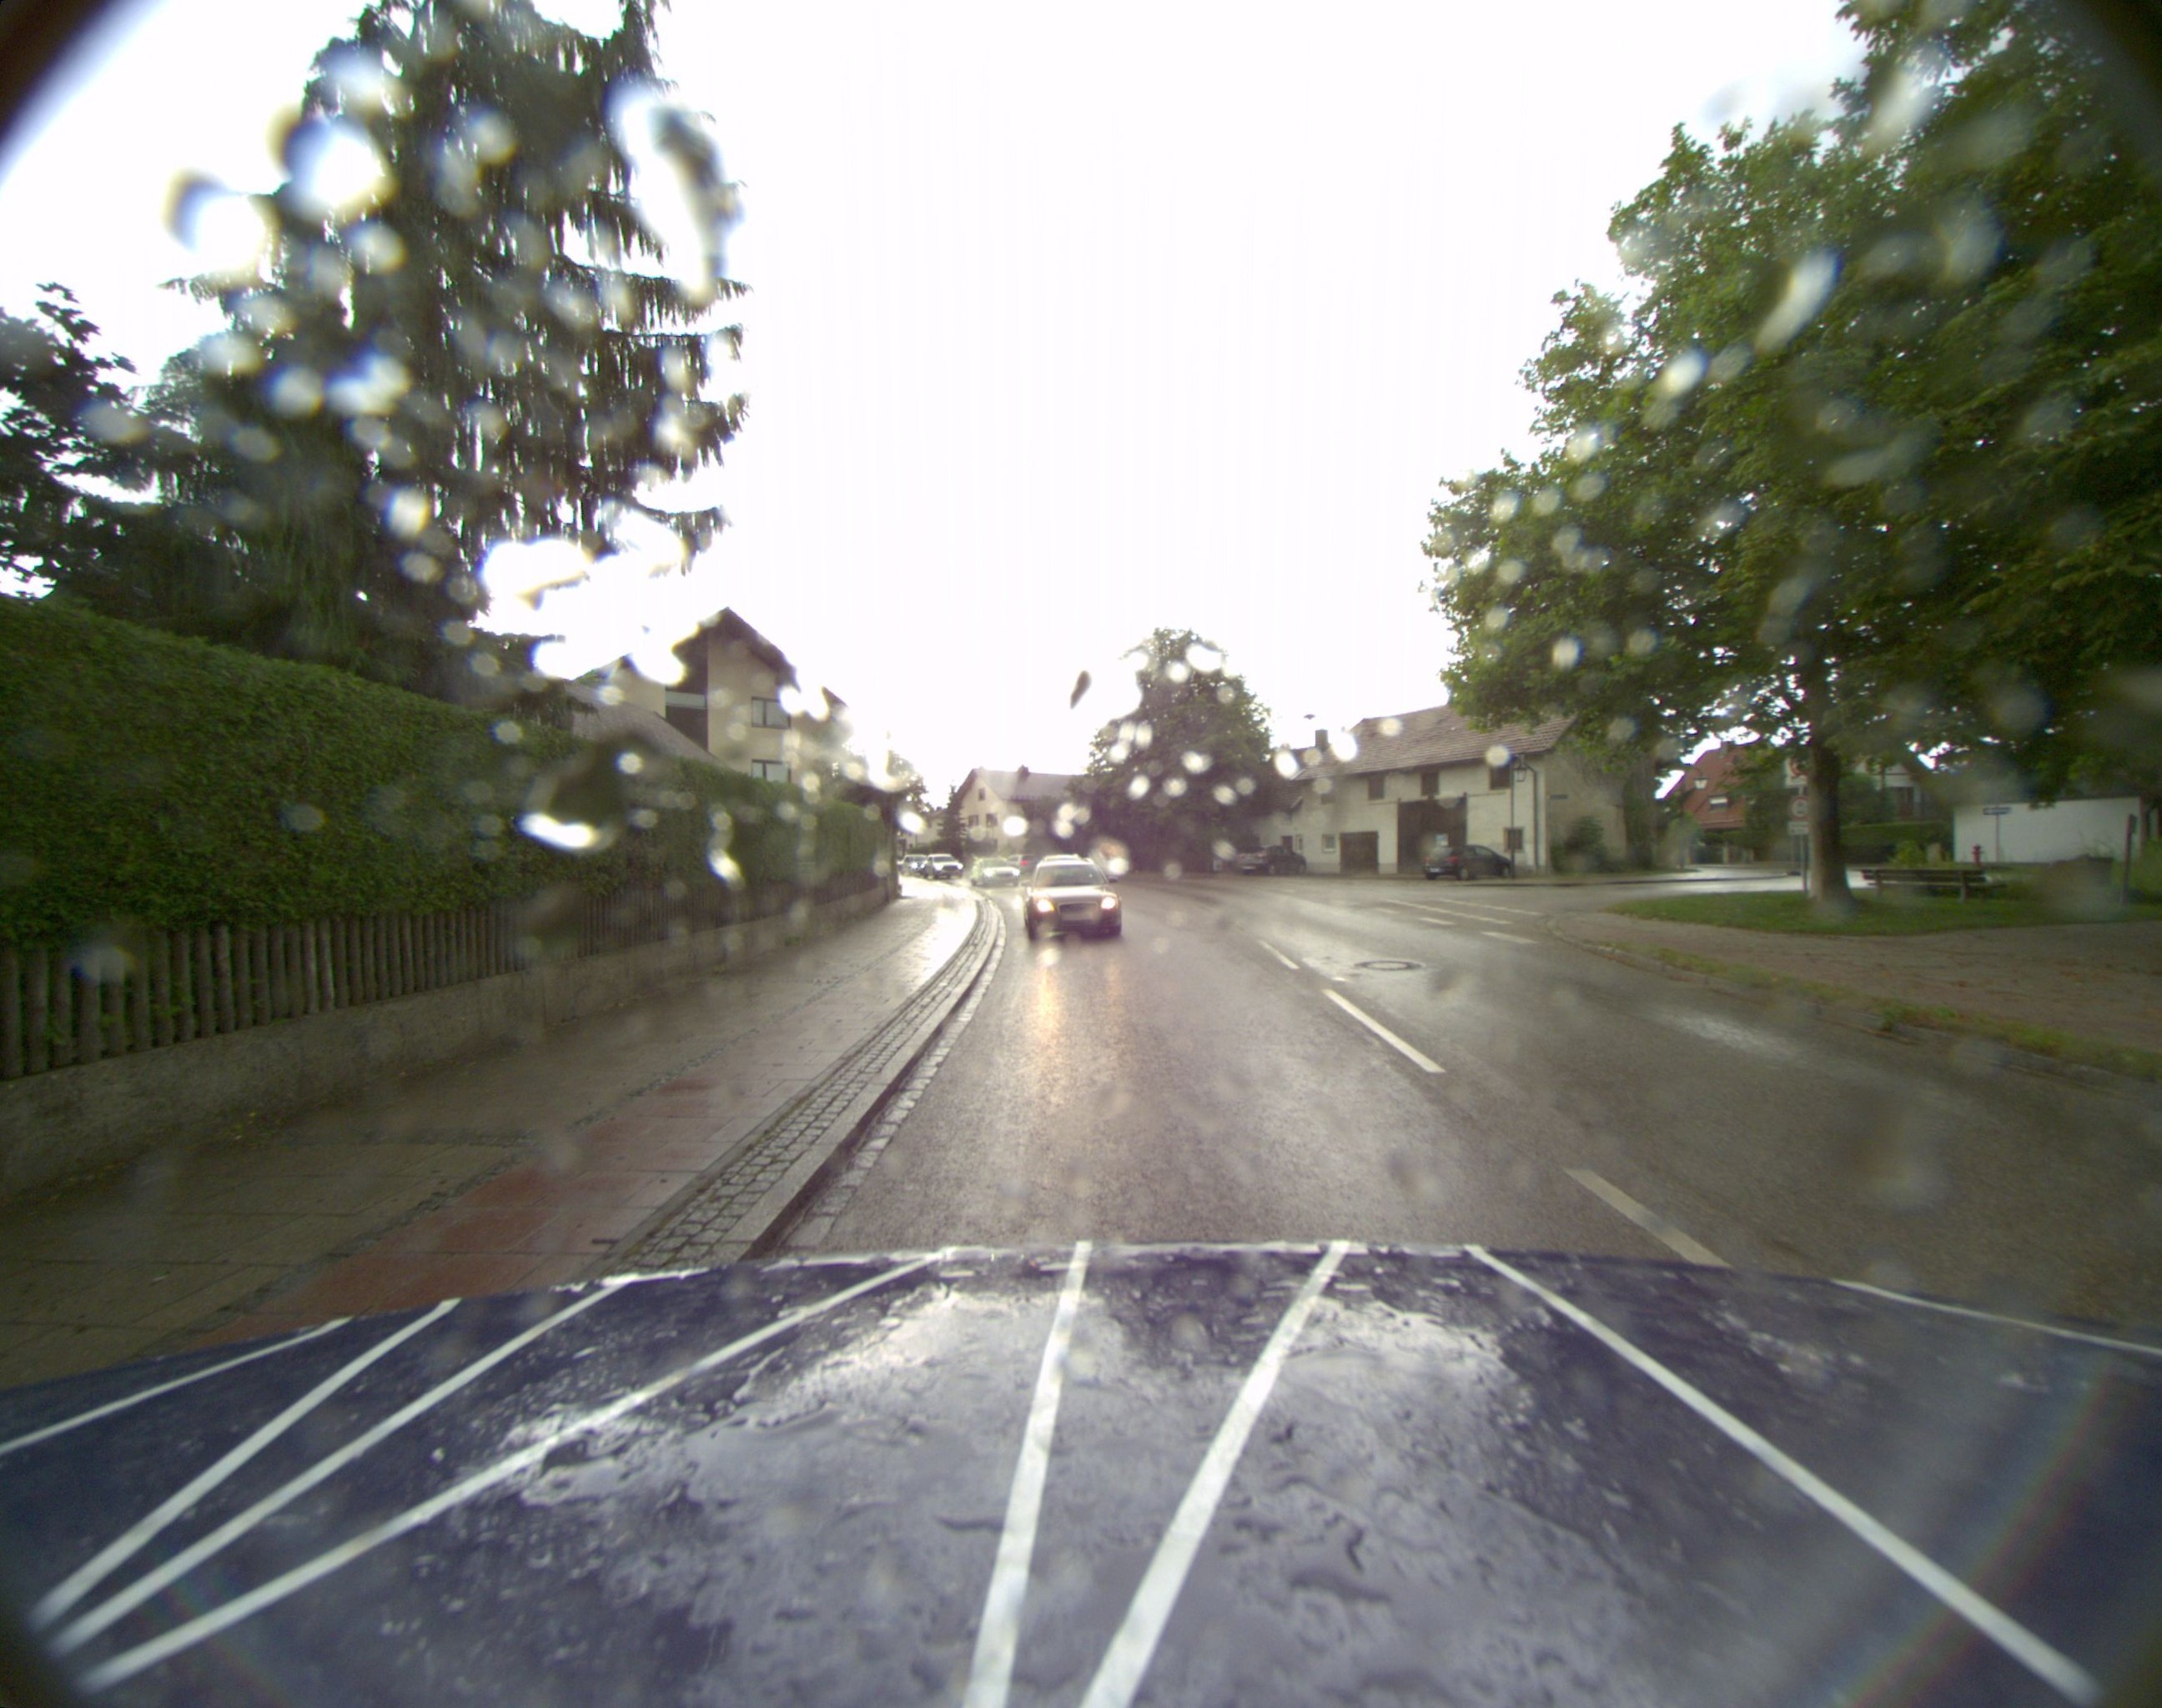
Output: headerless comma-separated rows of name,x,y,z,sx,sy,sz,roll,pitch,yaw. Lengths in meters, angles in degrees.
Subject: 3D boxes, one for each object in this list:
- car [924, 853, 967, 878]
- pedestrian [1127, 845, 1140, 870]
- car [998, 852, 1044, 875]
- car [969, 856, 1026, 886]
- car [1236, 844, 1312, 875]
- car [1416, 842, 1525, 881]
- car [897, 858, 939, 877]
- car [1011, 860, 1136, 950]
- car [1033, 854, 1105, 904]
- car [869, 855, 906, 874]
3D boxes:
car,-9.270,0.725,51.660,1.797,1.539,4.272,-3,1,-24
pedestrian,3.374,0.221,48.669,0.652,1.619,0.479,-1,1,17
car,-4.252,0.666,53.424,1.724,1.434,3.991,-3,1,-27
car,-4.377,0.835,39.249,1.797,1.387,4.273,-3,1,-21
car,10.270,0.292,40.222,4.290,1.539,1.812,0,0,-42
car,16.011,0.275,31.182,4.287,1.428,1.817,-2,1,-28
car,-12.842,1.023,59.662,1.798,1.365,4.270,-4,1,-33
car,-0.319,0.907,15.377,1.795,1.387,4.277,-3,1,-10
car,-0.547,0.790,27.109,1.795,1.471,5.380,-3,1,-9
car,-16.796,0.896,65.780,1.798,1.539,4.270,-4,1,-33
